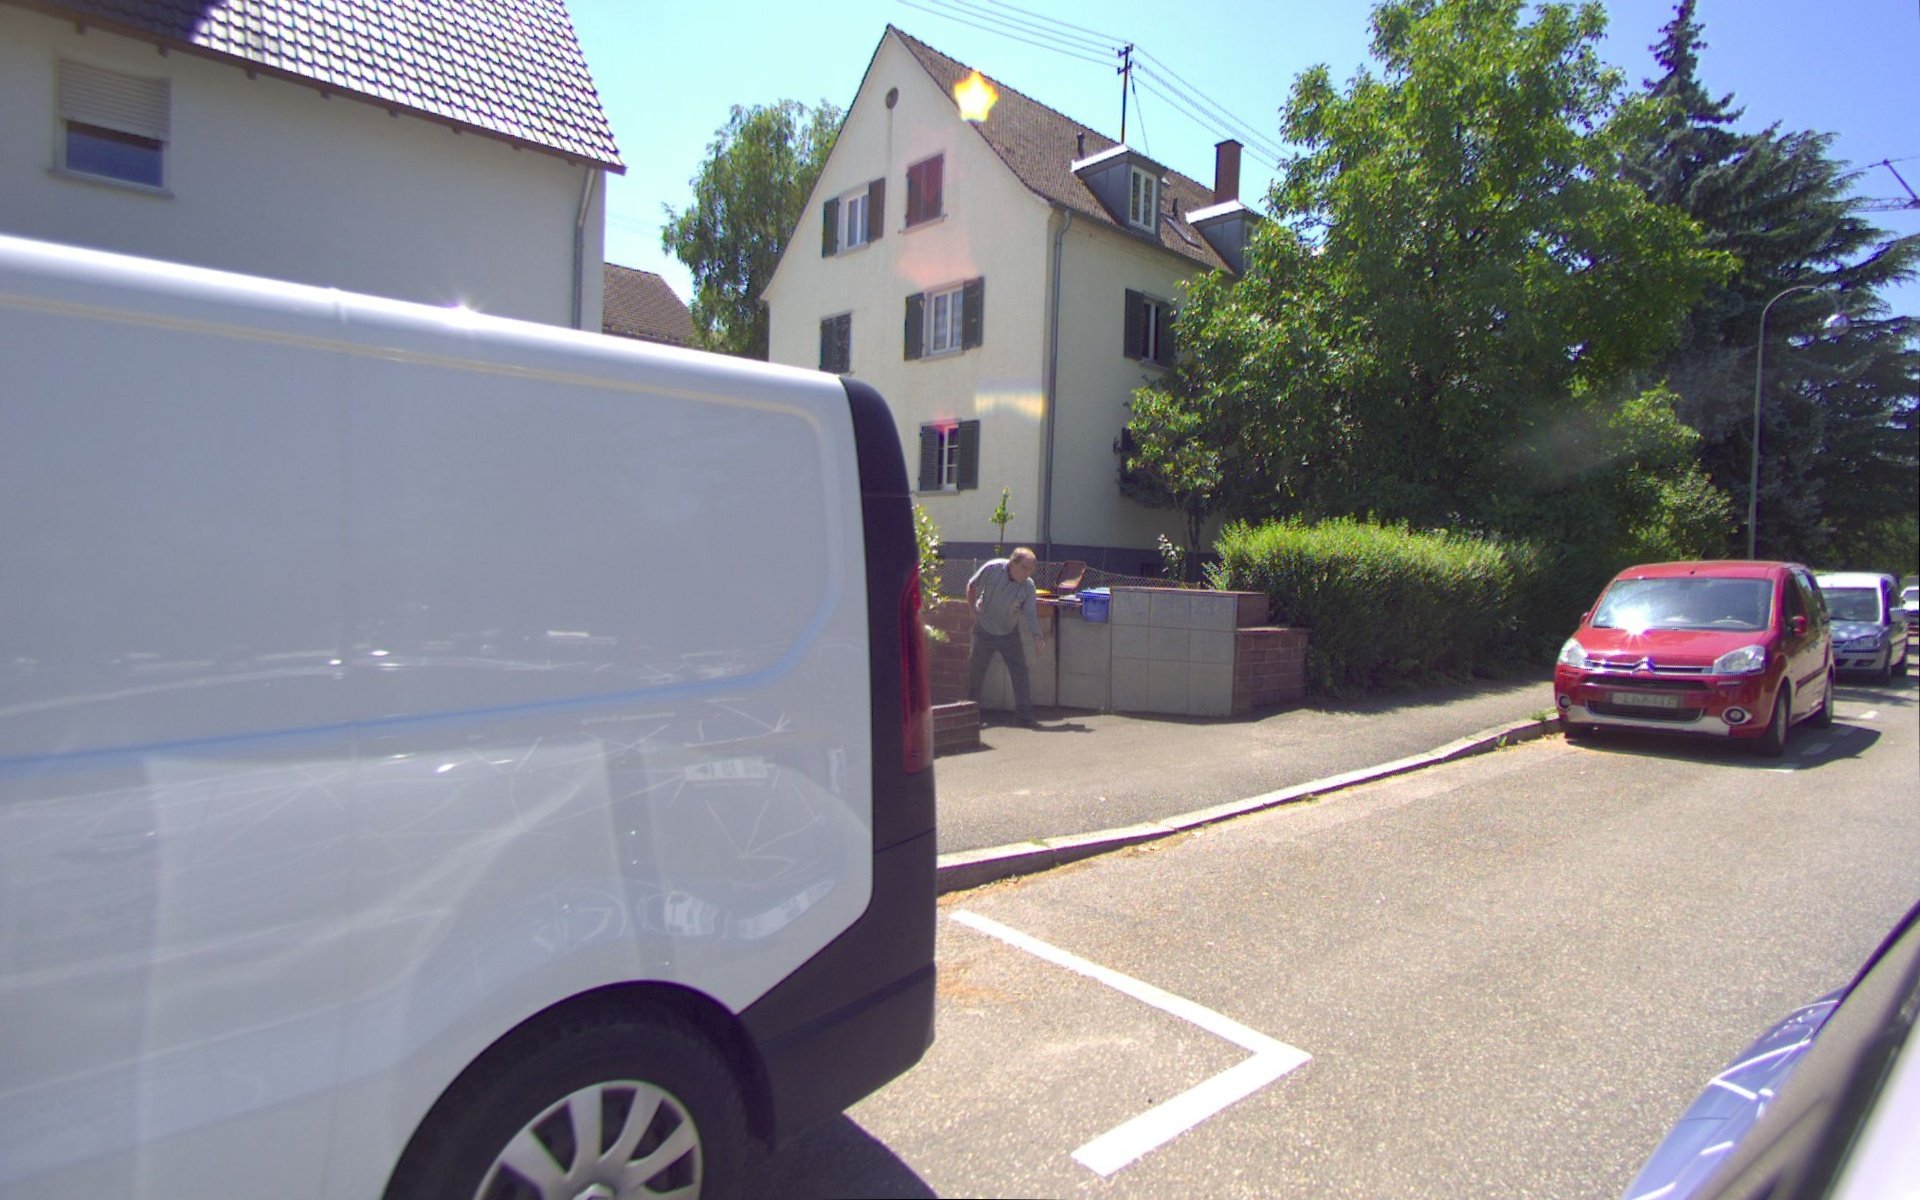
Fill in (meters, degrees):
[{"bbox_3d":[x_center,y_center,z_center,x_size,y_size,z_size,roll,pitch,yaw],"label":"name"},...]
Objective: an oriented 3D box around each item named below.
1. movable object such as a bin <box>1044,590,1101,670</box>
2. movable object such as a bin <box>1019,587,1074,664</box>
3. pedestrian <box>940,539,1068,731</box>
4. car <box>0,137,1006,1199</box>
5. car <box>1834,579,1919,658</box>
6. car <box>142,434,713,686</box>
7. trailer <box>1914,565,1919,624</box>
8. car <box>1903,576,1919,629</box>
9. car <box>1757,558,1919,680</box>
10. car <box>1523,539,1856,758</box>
[{"bbox_3d":[1.403,0.359,12.615,0.492,0.937,0.465,0,4,-41],"label":"movable object such as a bin"},{"bbox_3d":[1.116,0.322,13.033,0.492,0.937,0.465,0,4,-41],"label":"movable object such as a bin"},{"bbox_3d":[0.373,0.266,8.748,0.696,1.535,0.790,0,4,-40],"label":"pedestrian"},{"bbox_3d":[-2.264,0.381,1.569,4.637,1.948,1.906,0,2,-41],"label":"car"},{"bbox_3d":[19.086,0.341,20.850,2.661,1.514,1.263,-1,1,-41],"label":"car"},{"bbox_3d":[-4.734,-0.327,9.456,4.313,1.878,1.753,2,4,-33],"label":"car"},{"bbox_3d":[36.141,-0.228,37.035,3.648,2.093,1.681,-2,2,-44],"label":"trailer"},{"bbox_3d":[32.207,0.068,33.111,4.529,1.652,1.773,0,1,-44],"label":"car"},{"bbox_3d":[15.015,0.246,17.096,4.466,1.804,1.748,-1,1,-42],"label":"car"},{"bbox_3d":[7.513,0.350,10.250,4.317,1.750,1.905,-1,1,-42],"label":"car"}]
